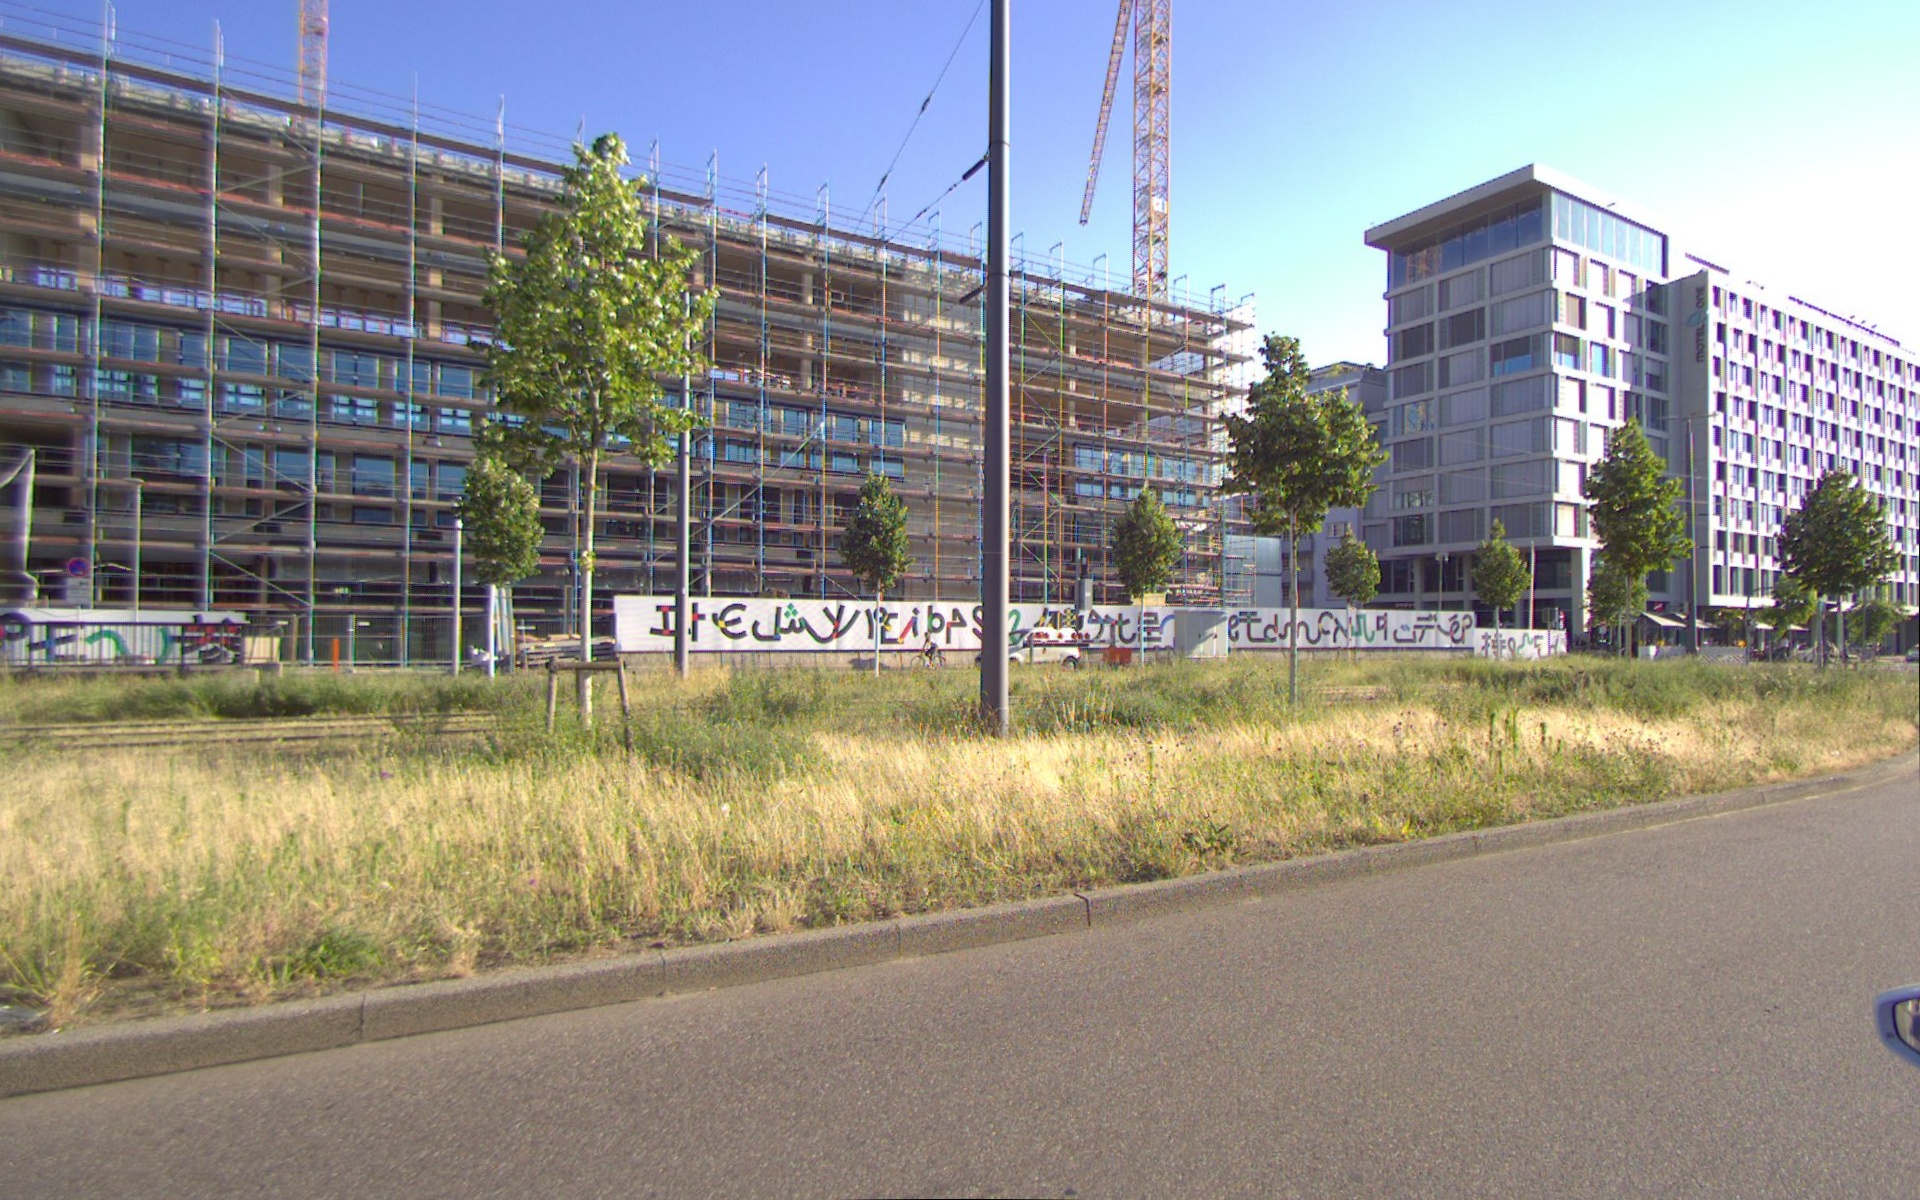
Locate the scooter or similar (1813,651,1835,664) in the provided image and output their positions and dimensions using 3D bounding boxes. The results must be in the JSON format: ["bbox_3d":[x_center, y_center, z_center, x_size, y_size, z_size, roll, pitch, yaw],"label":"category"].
[{"bbox_3d":[67.084,4.462,78.004,0.430,1.032,1.238,1,-2,-29],"label":"scooter or similar"}]

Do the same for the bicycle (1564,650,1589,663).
[{"bbox_3d":[45.605,4.162,74.303,2.192,0.948,0.615,2,-2,-32],"label":"bicycle"}]

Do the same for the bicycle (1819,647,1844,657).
[{"bbox_3d":[84.036,5.003,96.866,0.507,0.917,1.791,2,-2,-36],"label":"bicycle"}]

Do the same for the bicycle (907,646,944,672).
[{"bbox_3d":[-1.481,2.524,42.987,1.546,1.075,0.476,1,-2,-30],"label":"bicycle"}]

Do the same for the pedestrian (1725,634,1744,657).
[{"bbox_3d":[59.003,3.436,76.532,0.792,1.744,0.868,1,-2,-21],"label":"pedestrian"}]

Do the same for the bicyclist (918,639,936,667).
[{"bbox_3d":[-1.411,2.259,43.034,0.631,1.169,0.476,1,-2,-31],"label":"bicyclist"}]

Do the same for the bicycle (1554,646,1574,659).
[{"bbox_3d":[45.127,3.947,75.046,1.880,0.948,0.533,2,-2,-32],"label":"bicycle"}]

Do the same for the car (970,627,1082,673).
[{"bbox_3d":[2.395,1.792,36.214,3.796,1.578,1.597,1,-2,-30],"label":"car"}]

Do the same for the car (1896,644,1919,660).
[{"bbox_3d":[83.896,4.530,87.971,3.954,1.345,1.748,2,-1,-31],"label":"car"}]
